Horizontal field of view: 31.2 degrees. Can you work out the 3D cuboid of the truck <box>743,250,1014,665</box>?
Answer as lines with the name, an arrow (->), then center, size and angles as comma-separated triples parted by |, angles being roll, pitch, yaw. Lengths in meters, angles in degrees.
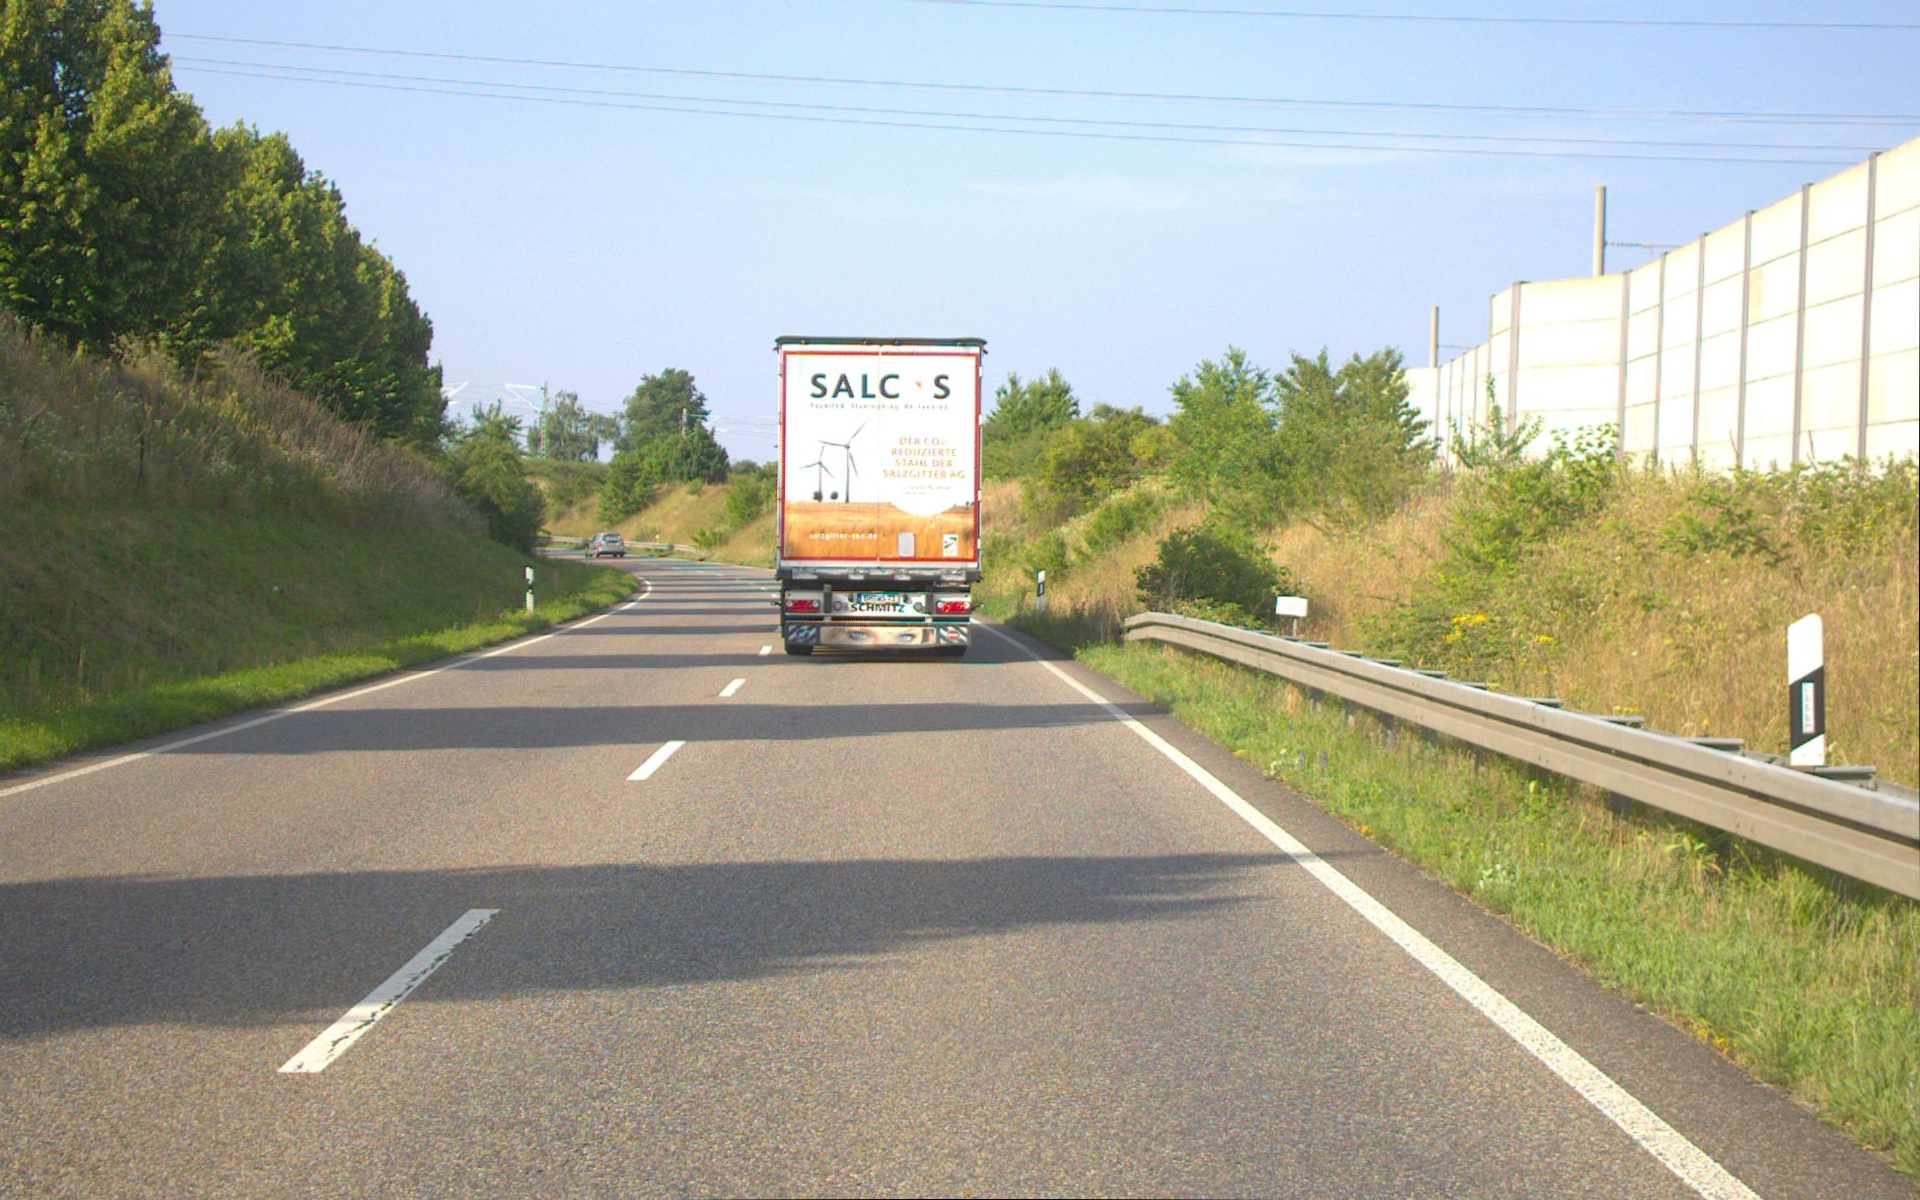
truck -> -1.201, -1.919, 48.347 | 3.290, 5.072, 12.039 | 1, 2, -2

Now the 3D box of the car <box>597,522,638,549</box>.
car -> -20.769, -3.942, 208.578 | 2.046, 1.576, 4.360 | 1, 1, 0
